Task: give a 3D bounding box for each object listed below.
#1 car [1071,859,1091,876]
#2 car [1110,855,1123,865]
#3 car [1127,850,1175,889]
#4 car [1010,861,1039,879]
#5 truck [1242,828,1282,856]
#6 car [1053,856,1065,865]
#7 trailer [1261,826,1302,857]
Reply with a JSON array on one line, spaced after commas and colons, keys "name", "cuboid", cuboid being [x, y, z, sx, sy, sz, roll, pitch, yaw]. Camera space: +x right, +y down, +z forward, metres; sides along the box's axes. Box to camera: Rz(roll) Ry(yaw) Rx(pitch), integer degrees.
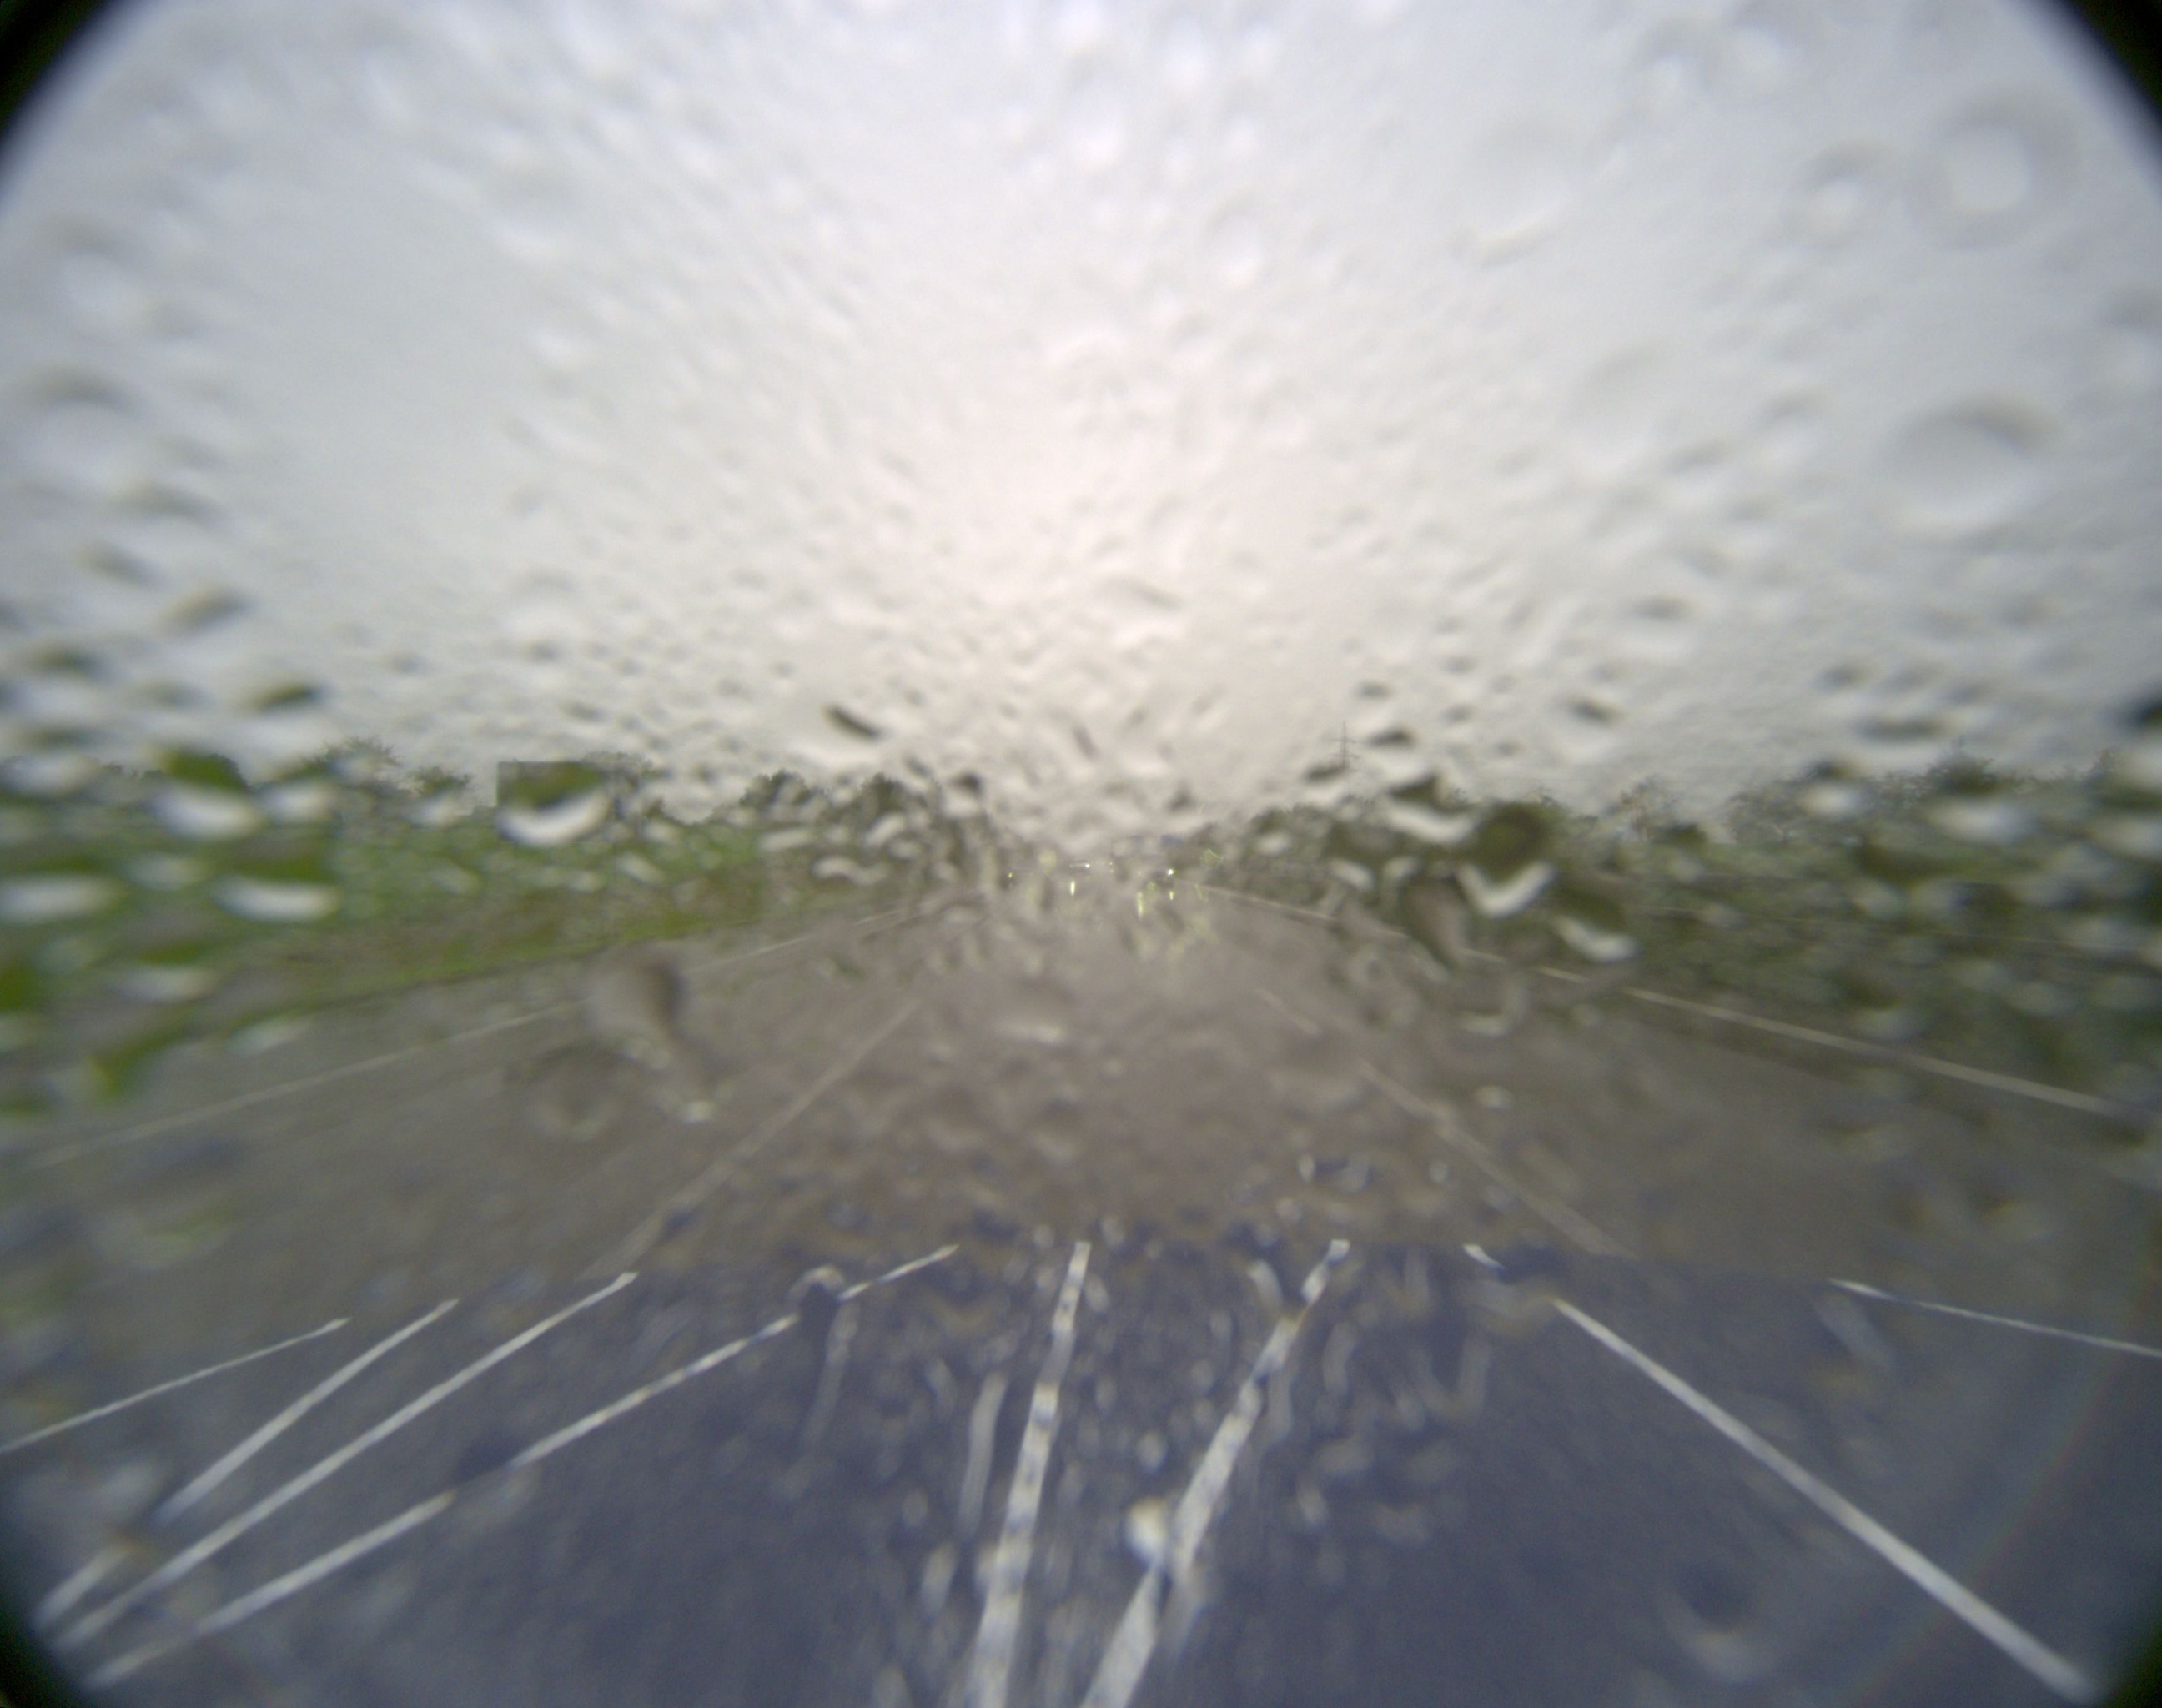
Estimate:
[{"name": "car", "cuboid": [0.022, 1.273, 71.534, 1.753, 1.406, 3.999, -2, 1, 0]}, {"name": "car", "cuboid": [5.294, 0.870, 113.969, 1.753, 1.369, 3.999, -2, 1, 0]}, {"name": "car", "cuboid": [3.463, 0.739, 38.209, 2.047, 1.763, 4.500, -1, 1, 1]}, {"name": "car", "cuboid": [-4.141, 1.162, 56.298, 1.753, 1.205, 3.999, -2, 1, 0]}, {"name": "truck", "cuboid": [21.437, -1.423, 90.680, 2.245, 3.019, 10.615, -2, 1, 1]}, {"name": "car", "cuboid": [-3.426, 0.984, 117.771, 1.753, 1.205, 3.999, -2, 1, 0]}, {"name": "trailer", "cuboid": [21.305, -1.332, 81.207, 2.252, 3.047, 8.264, -2, 1, 1]}]
